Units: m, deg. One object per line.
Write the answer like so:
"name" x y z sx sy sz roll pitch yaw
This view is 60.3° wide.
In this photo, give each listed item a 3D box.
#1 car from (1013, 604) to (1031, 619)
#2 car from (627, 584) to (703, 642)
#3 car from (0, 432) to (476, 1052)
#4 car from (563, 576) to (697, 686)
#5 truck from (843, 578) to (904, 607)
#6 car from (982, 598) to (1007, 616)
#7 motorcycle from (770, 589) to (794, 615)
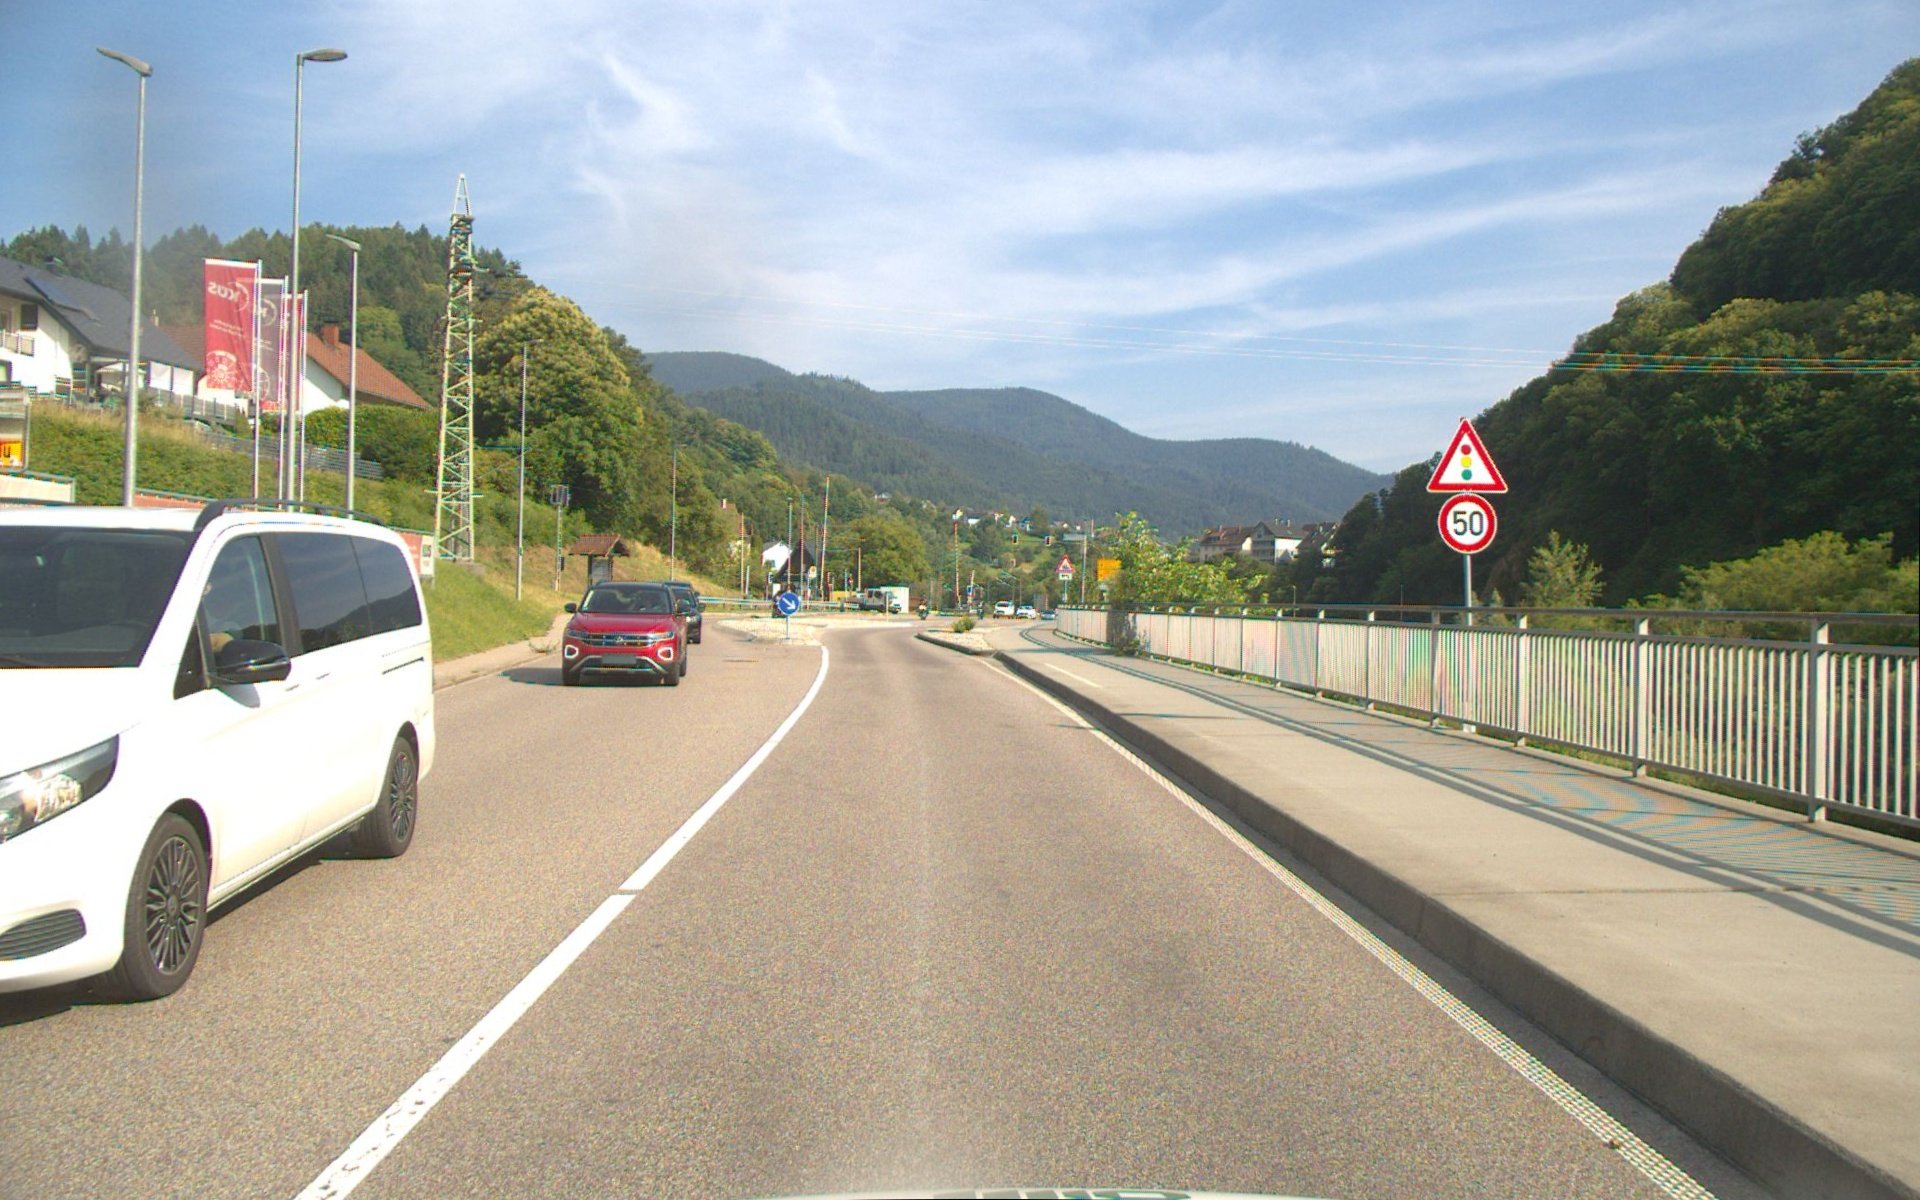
"car" 6.743 1.282 180.221 1.746 1.424 4.827 3 1 0
"car" -7.711 0.312 43.539 1.741 1.432 4.266 0 1 -7
"car" -3.834 0.433 7.719 1.858 1.920 5.292 -1 0 -4
"car" -5.171 0.433 26.349 1.672 1.611 4.154 0 0 -5
"truck" -8.011 -0.704 152.417 5.899 2.305 1.988 4 1 42
"car" 3.443 0.681 163.531 1.726 1.588 4.003 1 -2 12
"motorcycle" -8.837 0.100 82.124 0.879 1.204 2.297 2 1 -14
